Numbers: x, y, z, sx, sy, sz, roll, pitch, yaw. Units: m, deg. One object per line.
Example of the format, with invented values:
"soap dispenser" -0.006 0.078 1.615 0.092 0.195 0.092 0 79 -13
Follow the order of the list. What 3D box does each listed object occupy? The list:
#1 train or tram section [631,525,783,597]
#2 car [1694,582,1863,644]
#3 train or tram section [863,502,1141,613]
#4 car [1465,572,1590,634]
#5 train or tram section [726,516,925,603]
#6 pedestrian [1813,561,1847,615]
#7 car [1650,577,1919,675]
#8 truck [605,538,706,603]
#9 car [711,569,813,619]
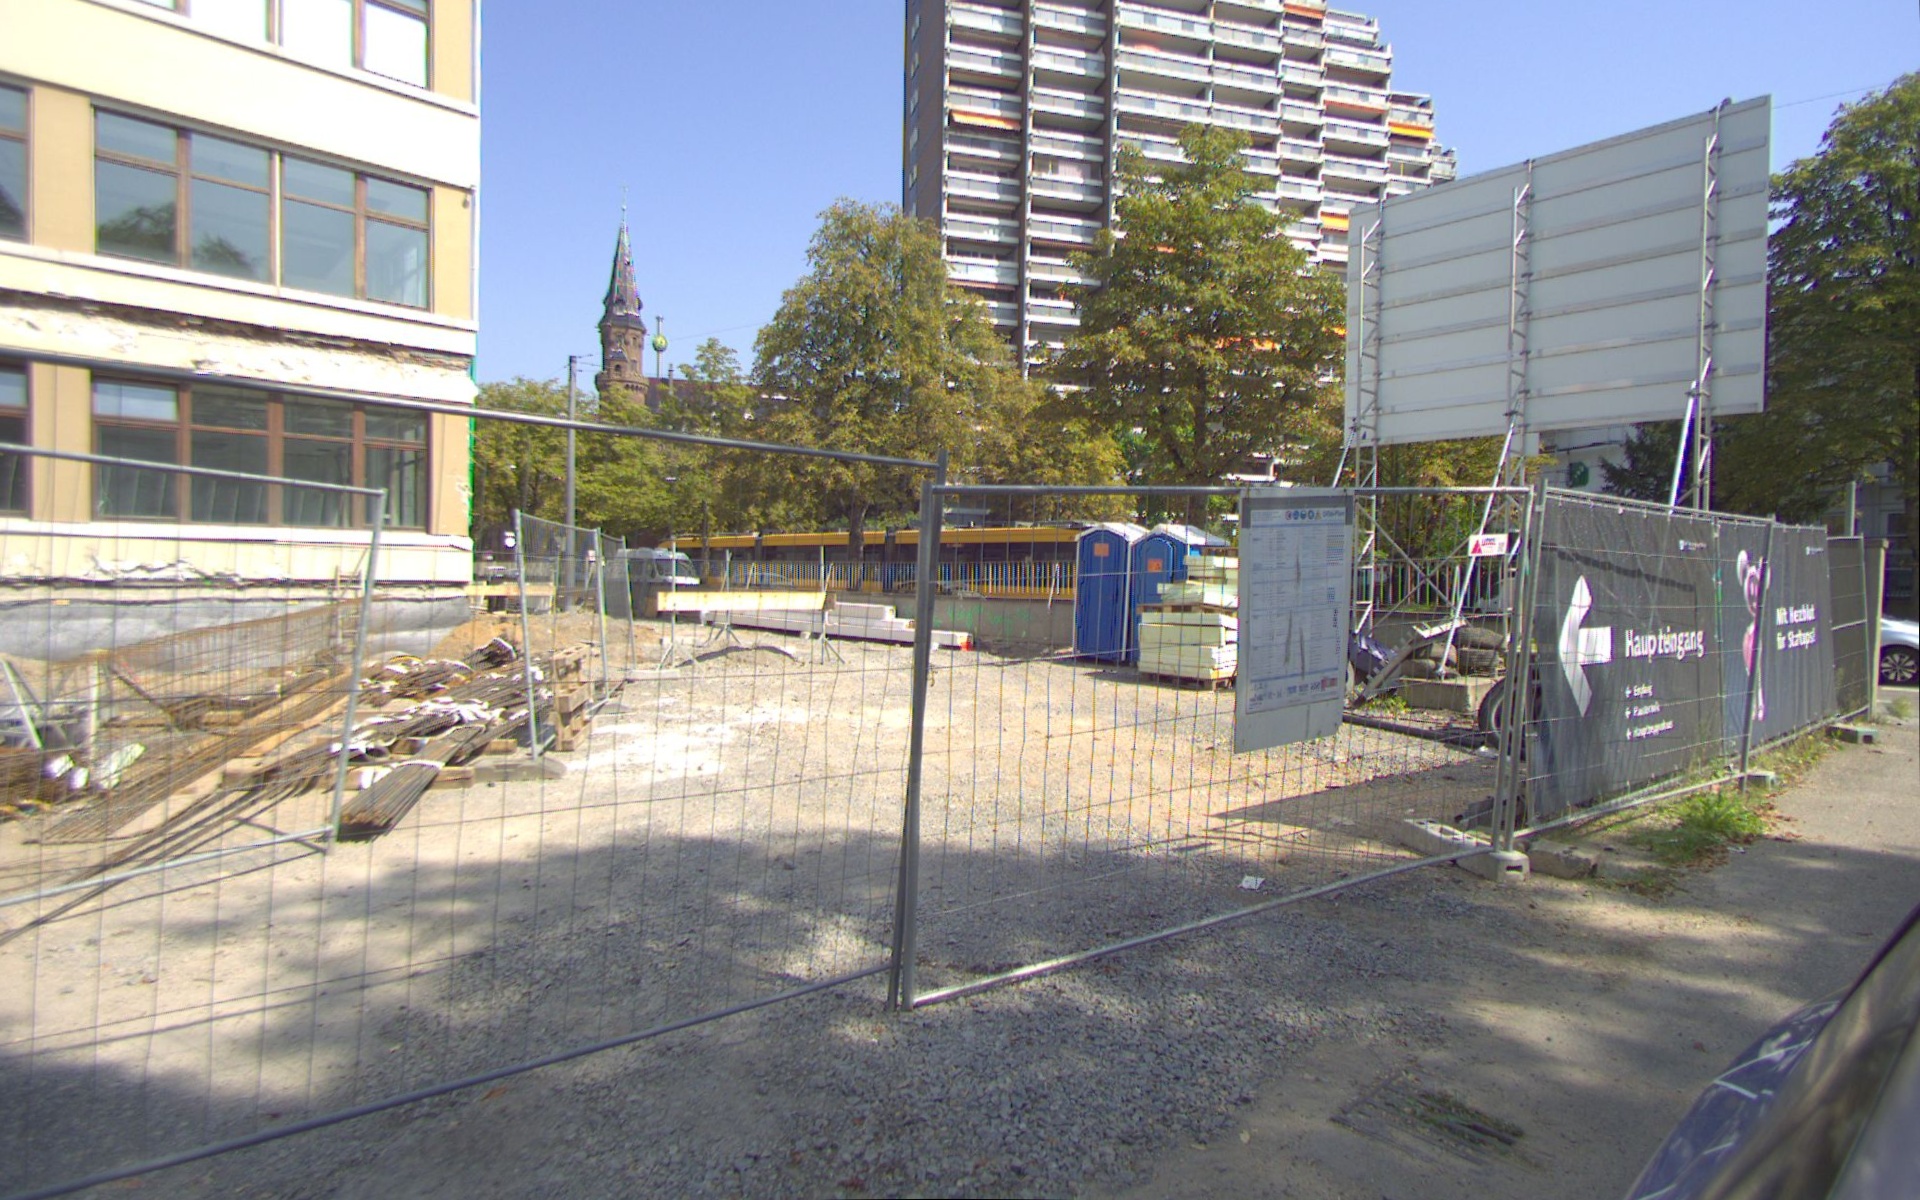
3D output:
"train or tram section" -15.017 -2.237 58.910 3.447 3.750 12.395 -1 2 -41
"car" 22.505 0.287 28.040 1.690 1.527 3.856 2 1 4
"train or tram section" 1.170 -1.616 40.002 3.447 3.750 12.395 -1 2 -41
"car" 17.805 0.050 31.987 1.793 1.794 4.280 1 1 5
"train or tram section" -6.924 -1.921 49.459 3.447 3.750 12.395 -1 2 -41
"pedestrian" 29.601 -0.412 34.447 0.735 1.809 0.820 2 1 33
"car" 15.052 0.387 18.092 4.341 1.579 1.972 1 1 39
"truck" -13.089 -1.290 43.309 1.891 2.631 5.581 0 2 -43
"car" -7.136 -0.253 36.193 1.650 1.599 4.165 2 1 -41
